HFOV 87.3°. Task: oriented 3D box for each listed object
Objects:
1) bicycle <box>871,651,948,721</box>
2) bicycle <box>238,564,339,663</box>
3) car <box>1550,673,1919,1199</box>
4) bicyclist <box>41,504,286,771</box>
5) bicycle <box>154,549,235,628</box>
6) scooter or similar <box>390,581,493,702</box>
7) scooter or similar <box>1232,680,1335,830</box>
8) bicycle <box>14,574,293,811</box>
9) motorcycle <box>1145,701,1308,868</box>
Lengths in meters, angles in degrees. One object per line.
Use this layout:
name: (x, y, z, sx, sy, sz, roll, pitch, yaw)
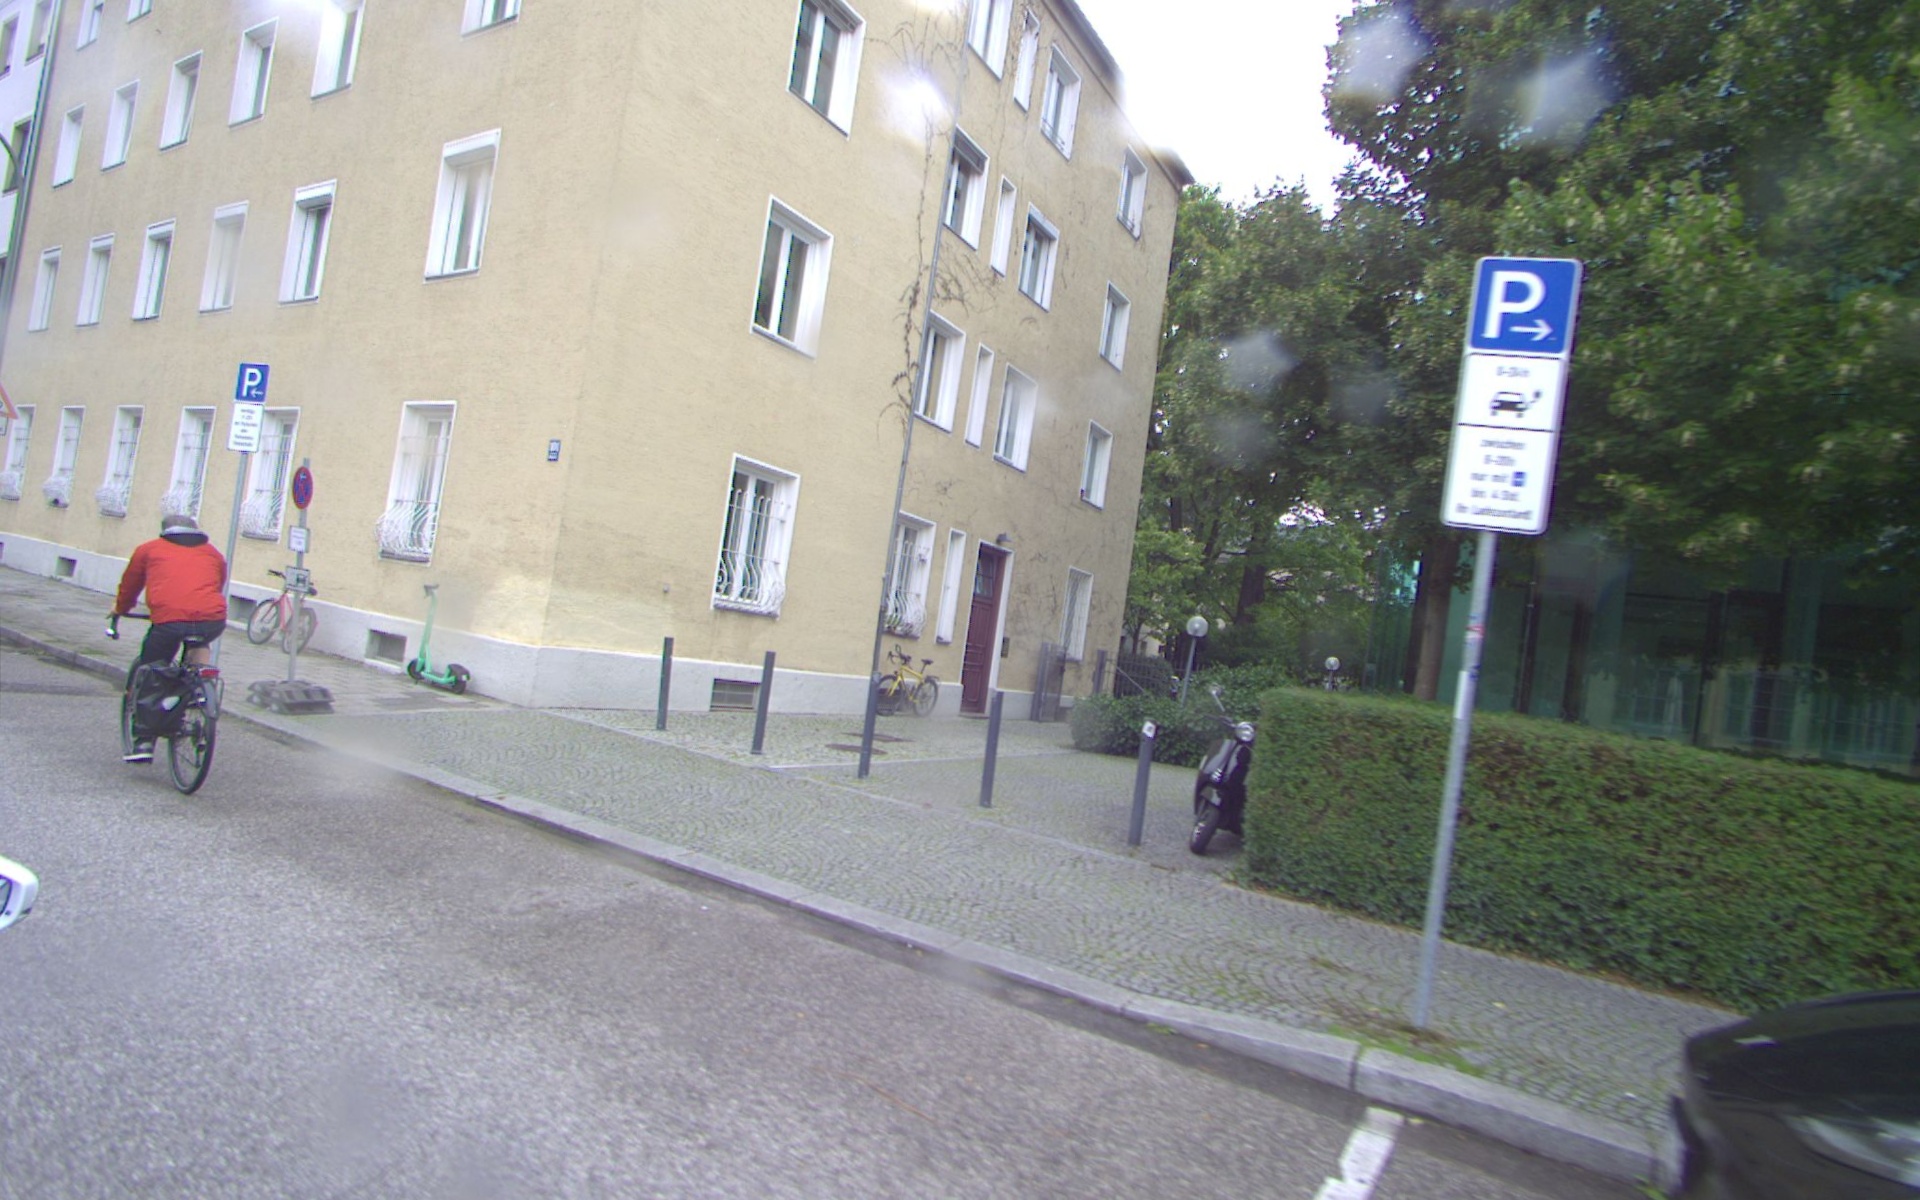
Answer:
bicycle: (-0.841, 1.502, 17.339, 0.372, 1.105, 1.701, 7, -3, 28)
bicycle: (-9.281, 0.166, 13.884, 1.730, 1.148, 0.342, 7, -1, 32)
car: (3.849, 1.349, 1.501, 5.017, 1.648, 1.999, 7, -4, 34)
bicyclist: (-4.988, 0.234, 6.314, 0.966, 1.498, 0.756, 7, -3, 34)
bicycle: (-12.315, -0.195, 16.163, 1.783, 1.095, 0.342, 7, 0, 32)
scooter or similar: (-6.144, 0.481, 11.905, 1.287, 1.271, 0.342, 7, 0, 32)
scooter or similar: (3.248, 1.495, 10.023, 0.658, 1.318, 1.351, 5, -2, 28)
bicycle: (-5.111, 0.535, 6.331, 1.979, 1.153, 0.674, 6, -4, 34)
motorcycle: (2.327, 1.496, 8.590, 0.697, 1.146, 1.896, 7, 0, 32)
